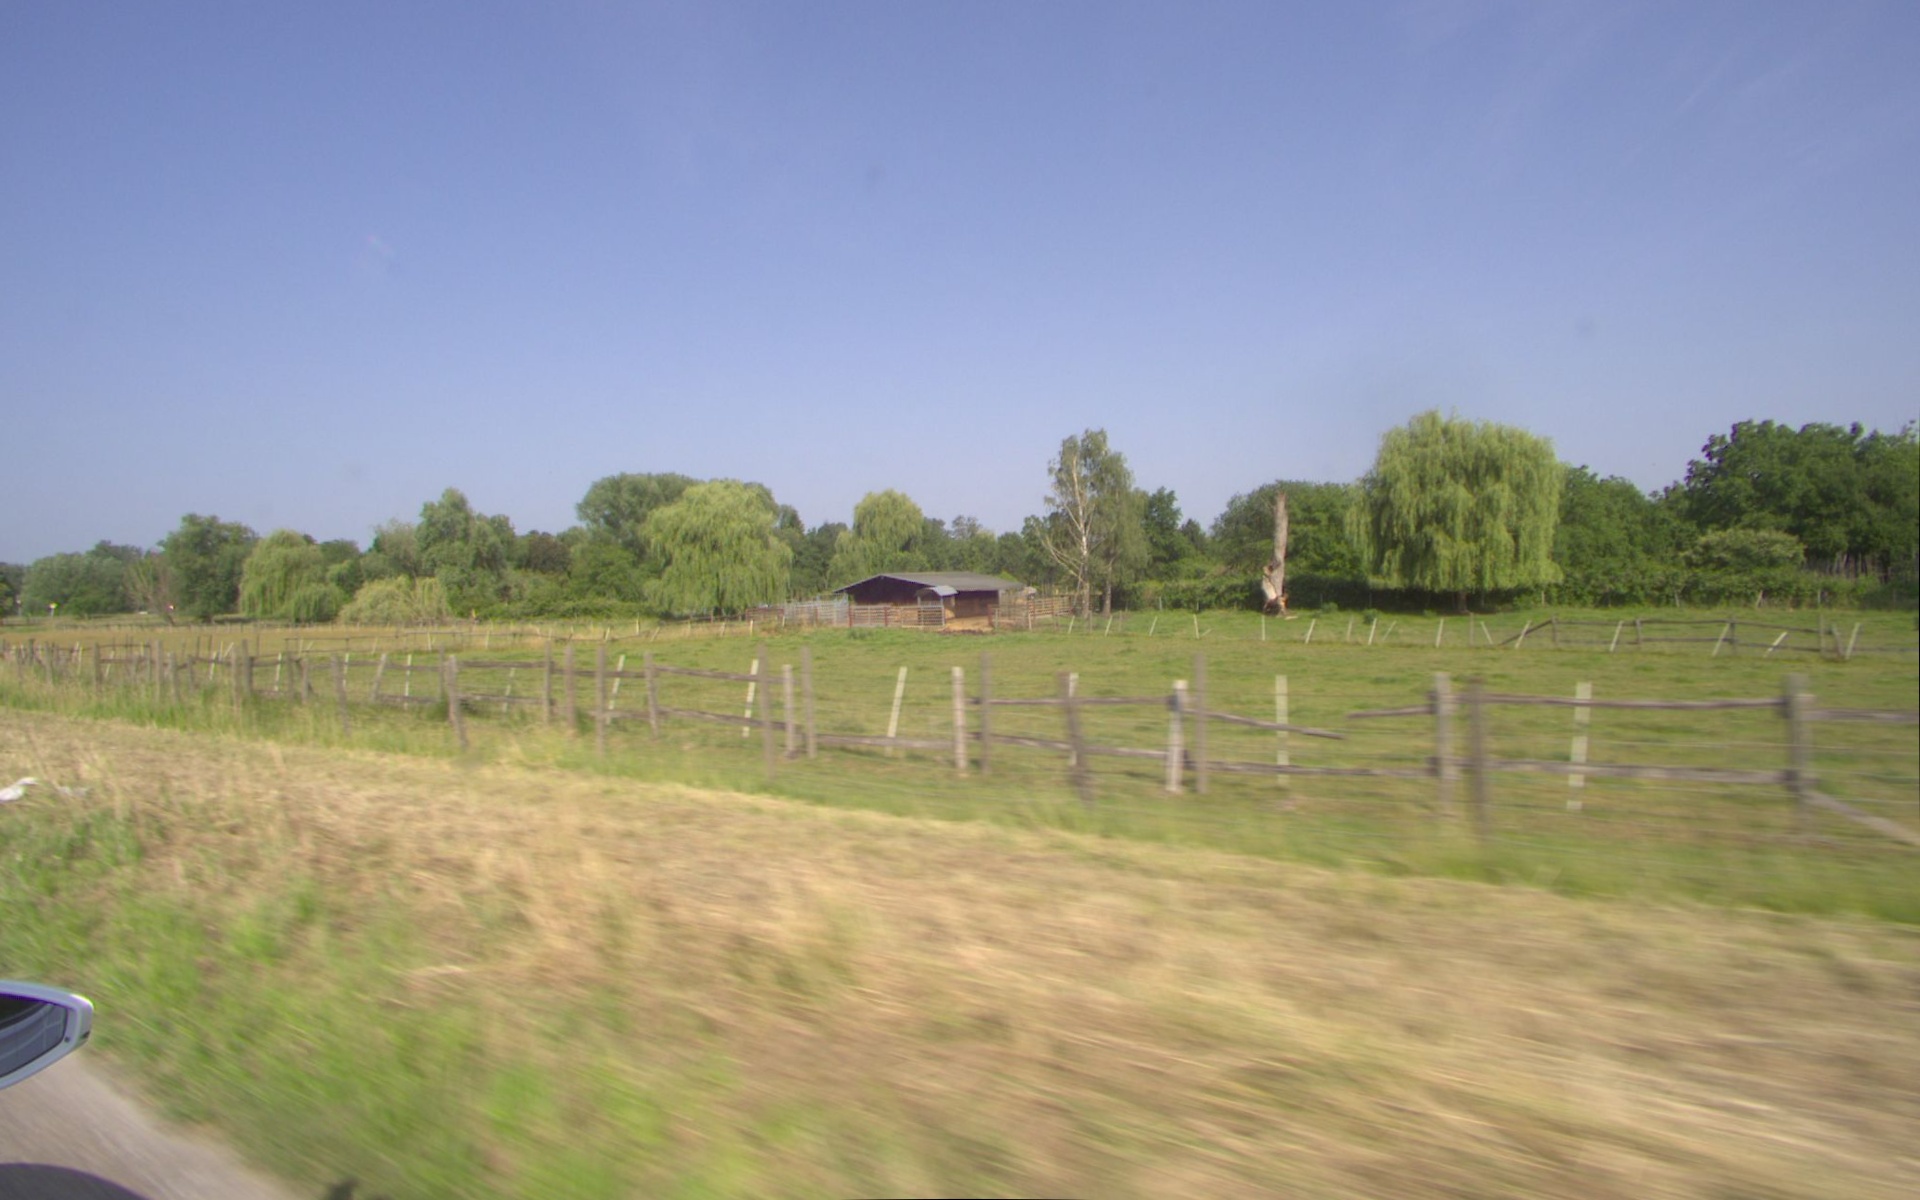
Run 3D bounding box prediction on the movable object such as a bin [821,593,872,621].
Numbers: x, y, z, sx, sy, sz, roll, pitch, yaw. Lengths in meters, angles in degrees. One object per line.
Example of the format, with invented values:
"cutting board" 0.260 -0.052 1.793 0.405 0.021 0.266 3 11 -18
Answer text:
"movable object such as a bin" -9.468 0.624 83.467 4.113 2.222 1.986 -1 -1 39
